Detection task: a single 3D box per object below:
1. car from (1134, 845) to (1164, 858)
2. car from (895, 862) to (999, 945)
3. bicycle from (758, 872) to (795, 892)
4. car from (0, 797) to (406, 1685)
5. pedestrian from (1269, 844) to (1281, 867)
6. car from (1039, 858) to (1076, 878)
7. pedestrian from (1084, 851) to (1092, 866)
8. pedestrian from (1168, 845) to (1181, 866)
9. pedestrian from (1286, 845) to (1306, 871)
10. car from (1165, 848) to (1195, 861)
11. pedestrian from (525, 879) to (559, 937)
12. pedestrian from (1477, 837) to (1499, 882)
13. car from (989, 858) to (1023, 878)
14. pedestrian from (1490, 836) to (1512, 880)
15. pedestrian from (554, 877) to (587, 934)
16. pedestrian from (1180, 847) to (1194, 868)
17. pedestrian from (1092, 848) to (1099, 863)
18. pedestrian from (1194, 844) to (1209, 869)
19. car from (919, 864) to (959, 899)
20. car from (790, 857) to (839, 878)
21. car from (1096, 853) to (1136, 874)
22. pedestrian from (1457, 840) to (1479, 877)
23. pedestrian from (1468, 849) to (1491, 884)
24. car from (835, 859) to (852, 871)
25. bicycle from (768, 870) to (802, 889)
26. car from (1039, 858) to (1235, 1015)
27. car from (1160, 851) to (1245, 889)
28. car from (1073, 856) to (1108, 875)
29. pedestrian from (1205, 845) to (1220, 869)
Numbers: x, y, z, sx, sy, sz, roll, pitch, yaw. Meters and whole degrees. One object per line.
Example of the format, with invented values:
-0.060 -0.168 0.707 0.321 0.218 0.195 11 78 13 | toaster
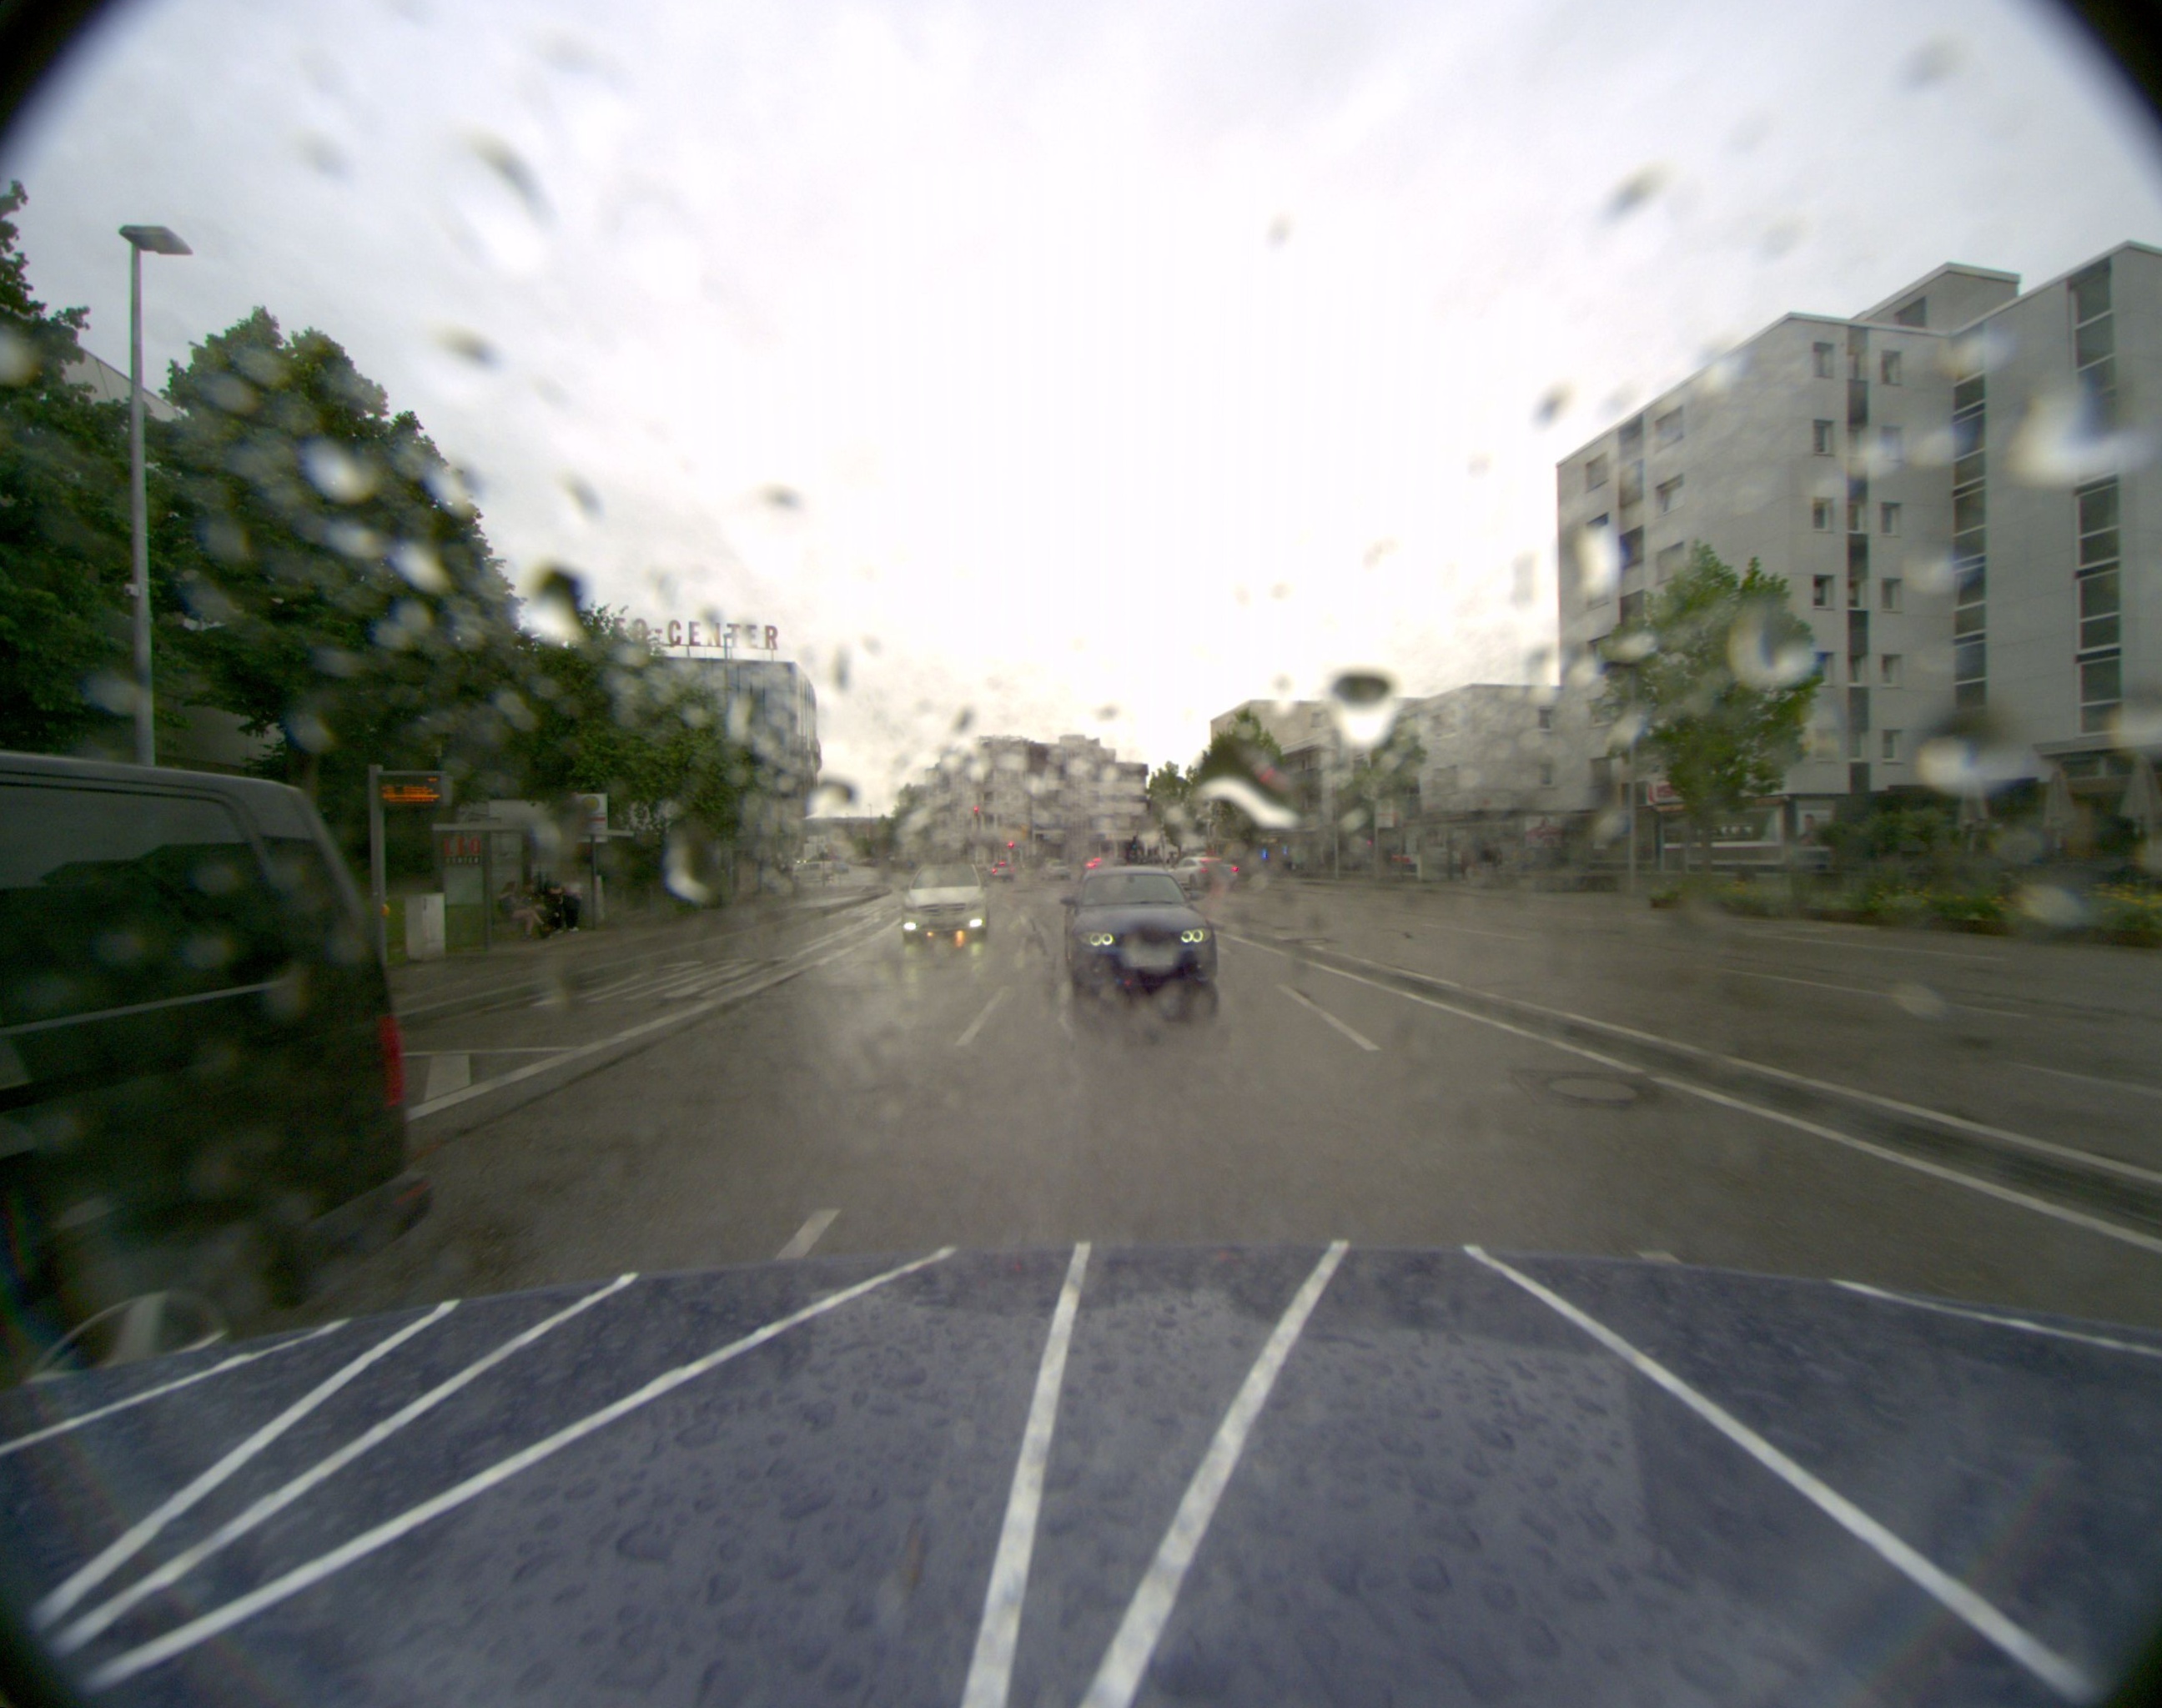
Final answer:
9.561 -0.328 106.600 3.901 1.710 1.743 -2 0 -29 | car
-2.934 1.019 17.487 1.762 1.540 4.325 -3 0 -3 | car
-17.067 1.570 42.630 1.808 1.077 0.685 0 -5 -13 | bicycle
-3.421 0.880 0.259 2.000 1.883 4.587 -2 1 4 | car
14.500 0.118 56.768 0.549 1.740 0.680 -2 0 -9 | pedestrian
-1.801 1.005 56.669 1.706 1.457 4.098 -1 0 -16 | car
0.824 0.483 87.808 0.839 1.733 0.584 -3 1 -5 | pedestrian
8.539 0.160 69.653 0.906 1.904 0.977 -2 0 -7 | pedestrian
14.039 0.274 49.612 1.011 1.636 0.726 -3 1 -11 | pedestrian
14.440 0.041 110.836 3.901 1.710 1.743 -2 0 -29 | car
-12.918 1.285 18.218 0.410 1.357 0.544 0 0 31 | pedestrian
15.389 0.199 28.725 0.479 1.649 0.536 -2 1 -10 | pedestrian
-5.859 1.083 59.038 1.764 1.442 3.995 -2 -1 -17 | car
15.987 0.135 28.945 0.536 1.649 0.479 -2 1 -5 | pedestrian
-12.603 1.264 18.771 0.410 1.357 0.544 0 0 32 | pedestrian
9.780 0.344 70.077 0.906 1.904 0.977 -2 0 -11 | pedestrian
1.715 0.191 89.269 0.682 1.733 0.585 -2 1 15 | pedestrian
10.017 0.230 63.310 0.906 2.002 0.977 -2 0 -11 | pedestrian
-6.670 1.271 35.892 1.633 1.481 3.837 -2 0 -8 | car
-28.306 1.433 80.711 4.603 2.002 1.996 -2 0 -26 | car
2.443 0.698 54.362 1.764 1.418 3.996 -2 -1 -13 | car
15.855 0.172 31.134 0.537 1.496 0.614 -2 1 -34 | pedestrian
15.829 0.483 30.206 0.536 1.344 0.578 -2 1 -5 | pedestrian
-31.625 1.452 101.028 1.903 1.517 3.993 -2 0 -21 | car
-17.805 1.533 45.743 1.836 1.104 0.693 0 1 -13 | bicycle
0.485 0.870 9.756 1.677 1.534 3.911 -2 0 -8 | car
5.204 0.653 33.298 1.849 1.452 4.802 -2 0 -14 | car
0.691 0.874 61.208 1.763 1.418 4.882 -2 0 -12 | car
11.067 0.229 63.953 0.906 2.002 0.977 -2 0 -11 | pedestrian
